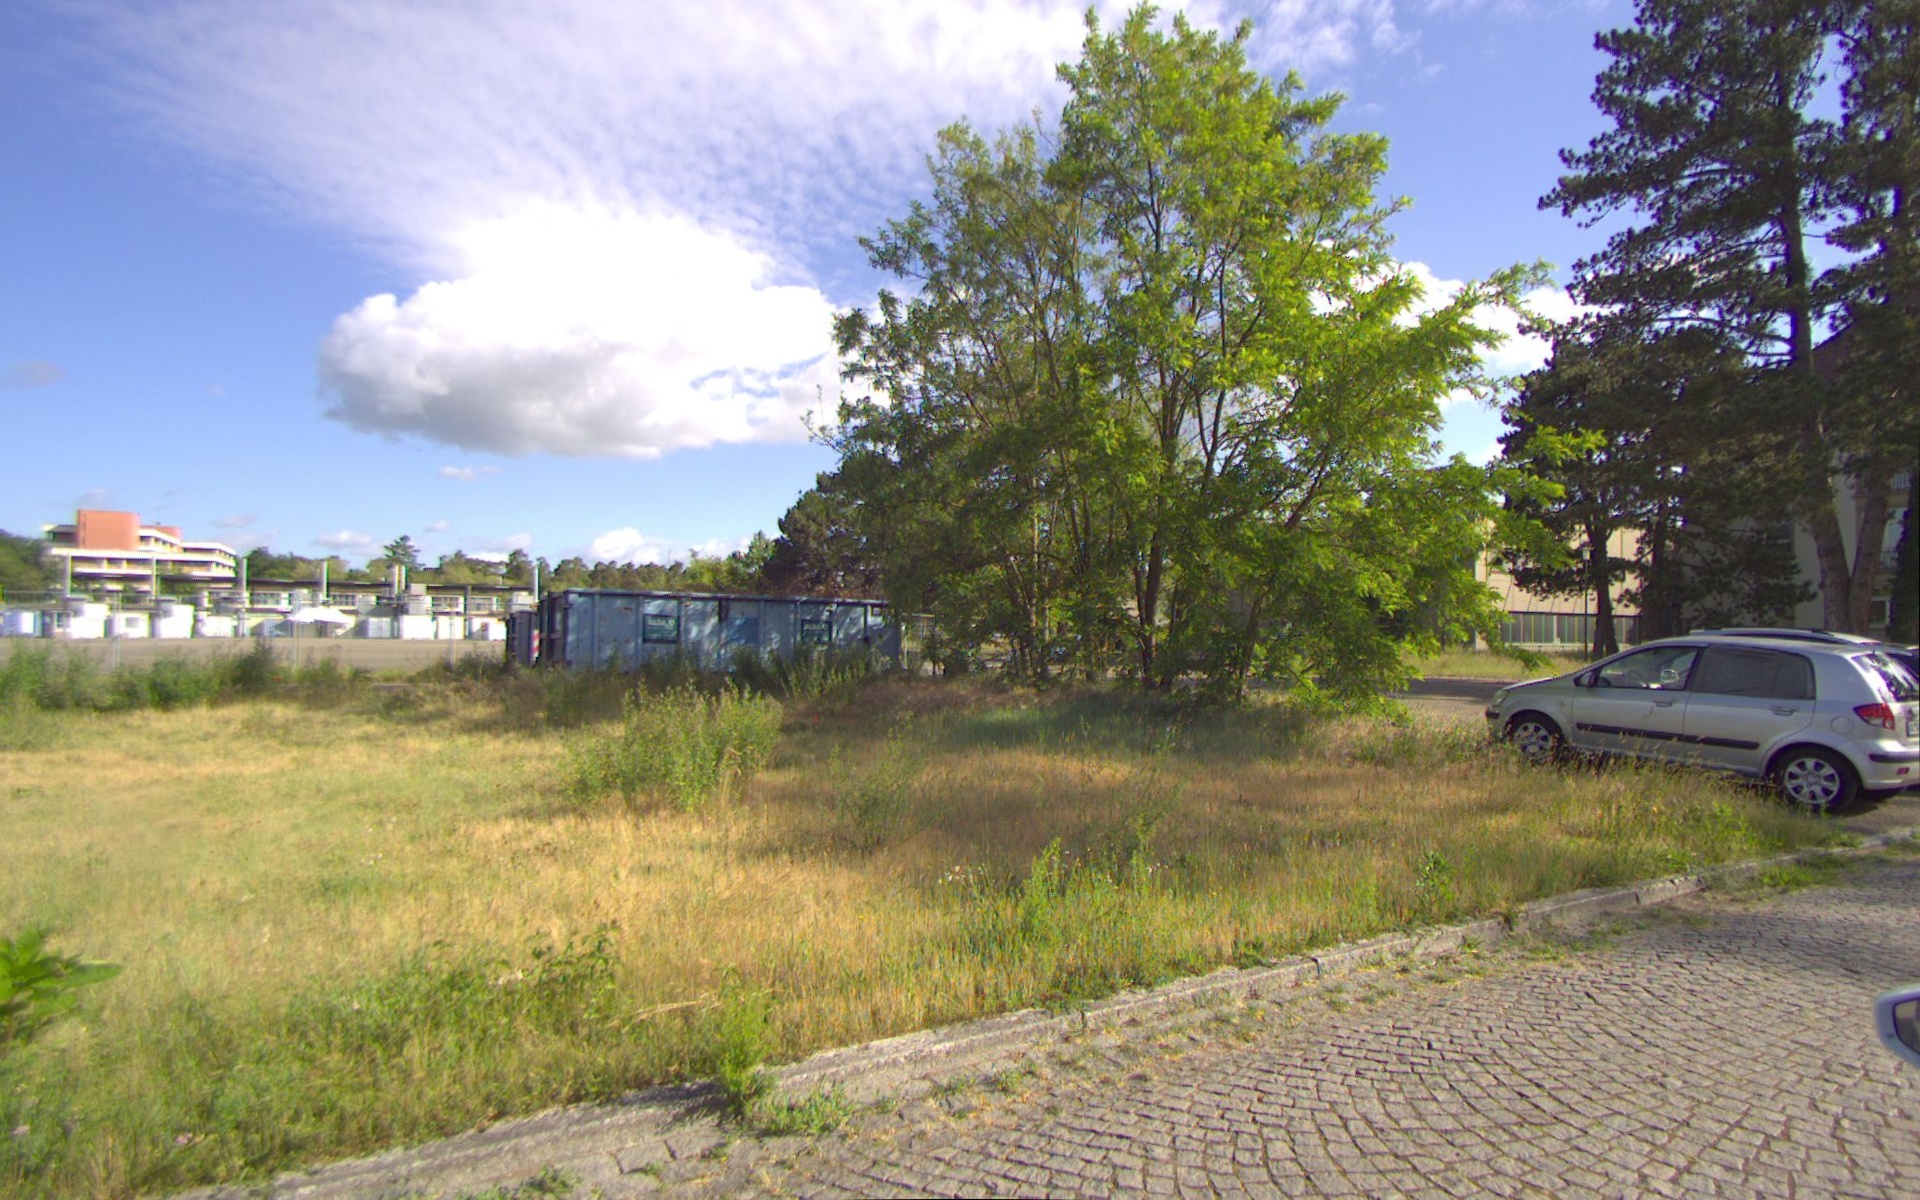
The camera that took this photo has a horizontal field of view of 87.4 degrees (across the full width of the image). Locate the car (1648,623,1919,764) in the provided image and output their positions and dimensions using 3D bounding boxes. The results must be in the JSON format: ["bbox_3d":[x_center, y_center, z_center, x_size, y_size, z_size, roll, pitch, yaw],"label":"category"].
[{"bbox_3d":[12.017,1.198,13.595,1.864,1.614,4.057,1,0,-32],"label":"car"}]

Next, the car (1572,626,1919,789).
[{"bbox_3d":[9.699,1.140,11.739,1.783,1.500,3.965,1,0,-32],"label":"car"}]

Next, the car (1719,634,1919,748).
[{"bbox_3d":[14.060,1.342,14.733,1.810,1.488,4.309,1,0,-32],"label":"car"}]

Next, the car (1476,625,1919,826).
[{"bbox_3d":[7.550,1.084,10.285,1.628,1.507,3.725,1,0,-32],"label":"car"}]
